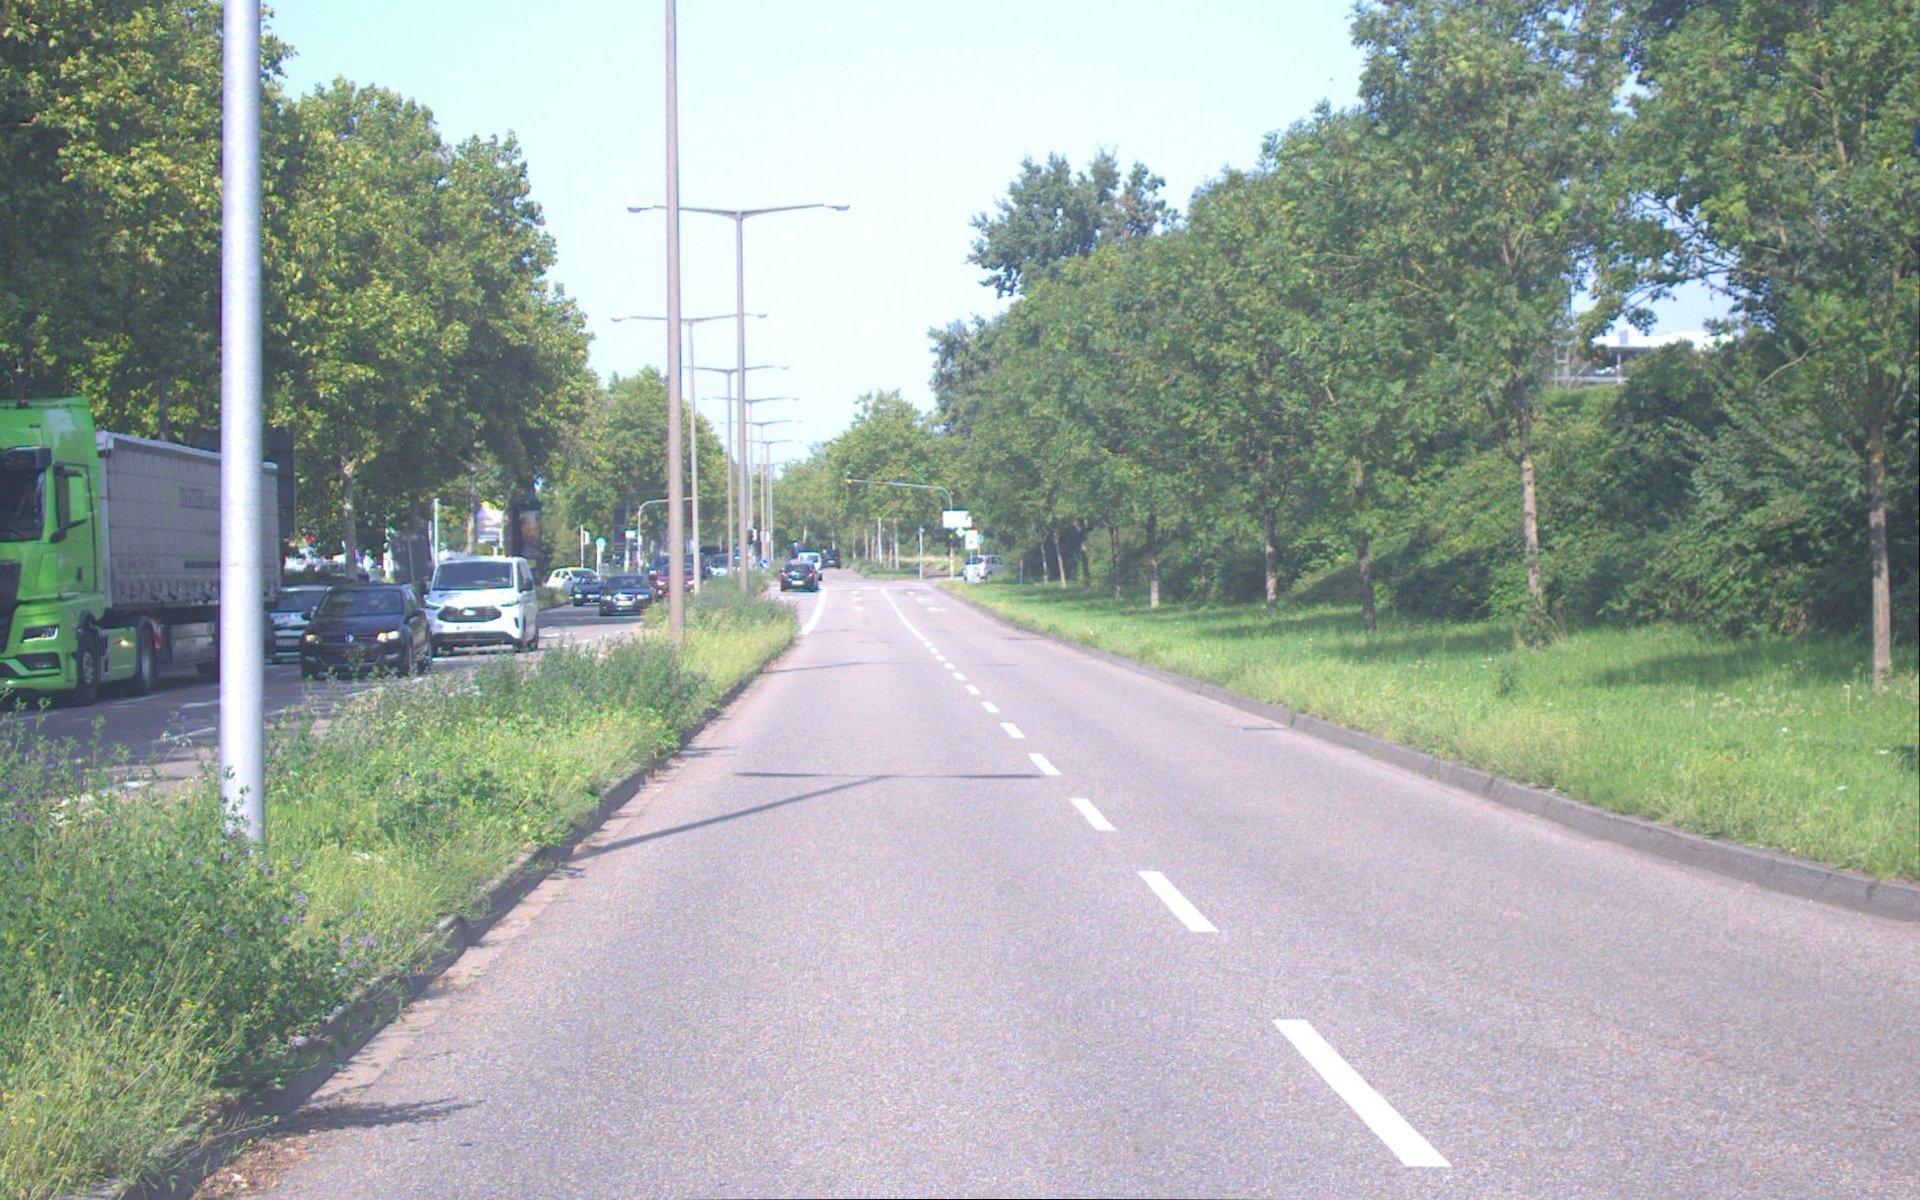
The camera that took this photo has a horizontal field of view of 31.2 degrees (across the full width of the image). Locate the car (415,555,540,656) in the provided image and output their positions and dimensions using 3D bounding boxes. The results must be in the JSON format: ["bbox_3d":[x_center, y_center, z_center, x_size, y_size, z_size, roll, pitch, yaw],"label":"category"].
[{"bbox_3d":[-9.691,0.089,69.382,1.993,1.947,5.036,0,0,-2],"label":"car"}]

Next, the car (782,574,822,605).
[{"bbox_3d":[-7.853,-0.531,171.324,1.692,1.481,4.000,0,0,1],"label":"car"}]

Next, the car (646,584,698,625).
[{"bbox_3d":[-12.399,0.177,148.034,1.954,1.718,4.587,-1,0,-2],"label":"car"}]

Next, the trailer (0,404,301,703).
[{"bbox_3d":[-12.321,-0.596,51.275,2.633,3.809,13.813,-2,0,-2],"label":"trailer"}]

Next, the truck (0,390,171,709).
[{"bbox_3d":[-12.105,-0.580,44.199,2.607,3.807,5.891,-2,0,-2],"label":"truck"}]

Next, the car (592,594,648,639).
[{"bbox_3d":[-11.963,0.571,121.163,1.746,1.474,4.587,-2,0,-3],"label":"car"}]

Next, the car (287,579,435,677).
[{"bbox_3d":[-9.243,0.414,53.306,1.614,1.394,3.857,-2,0,-1],"label":"car"}]
